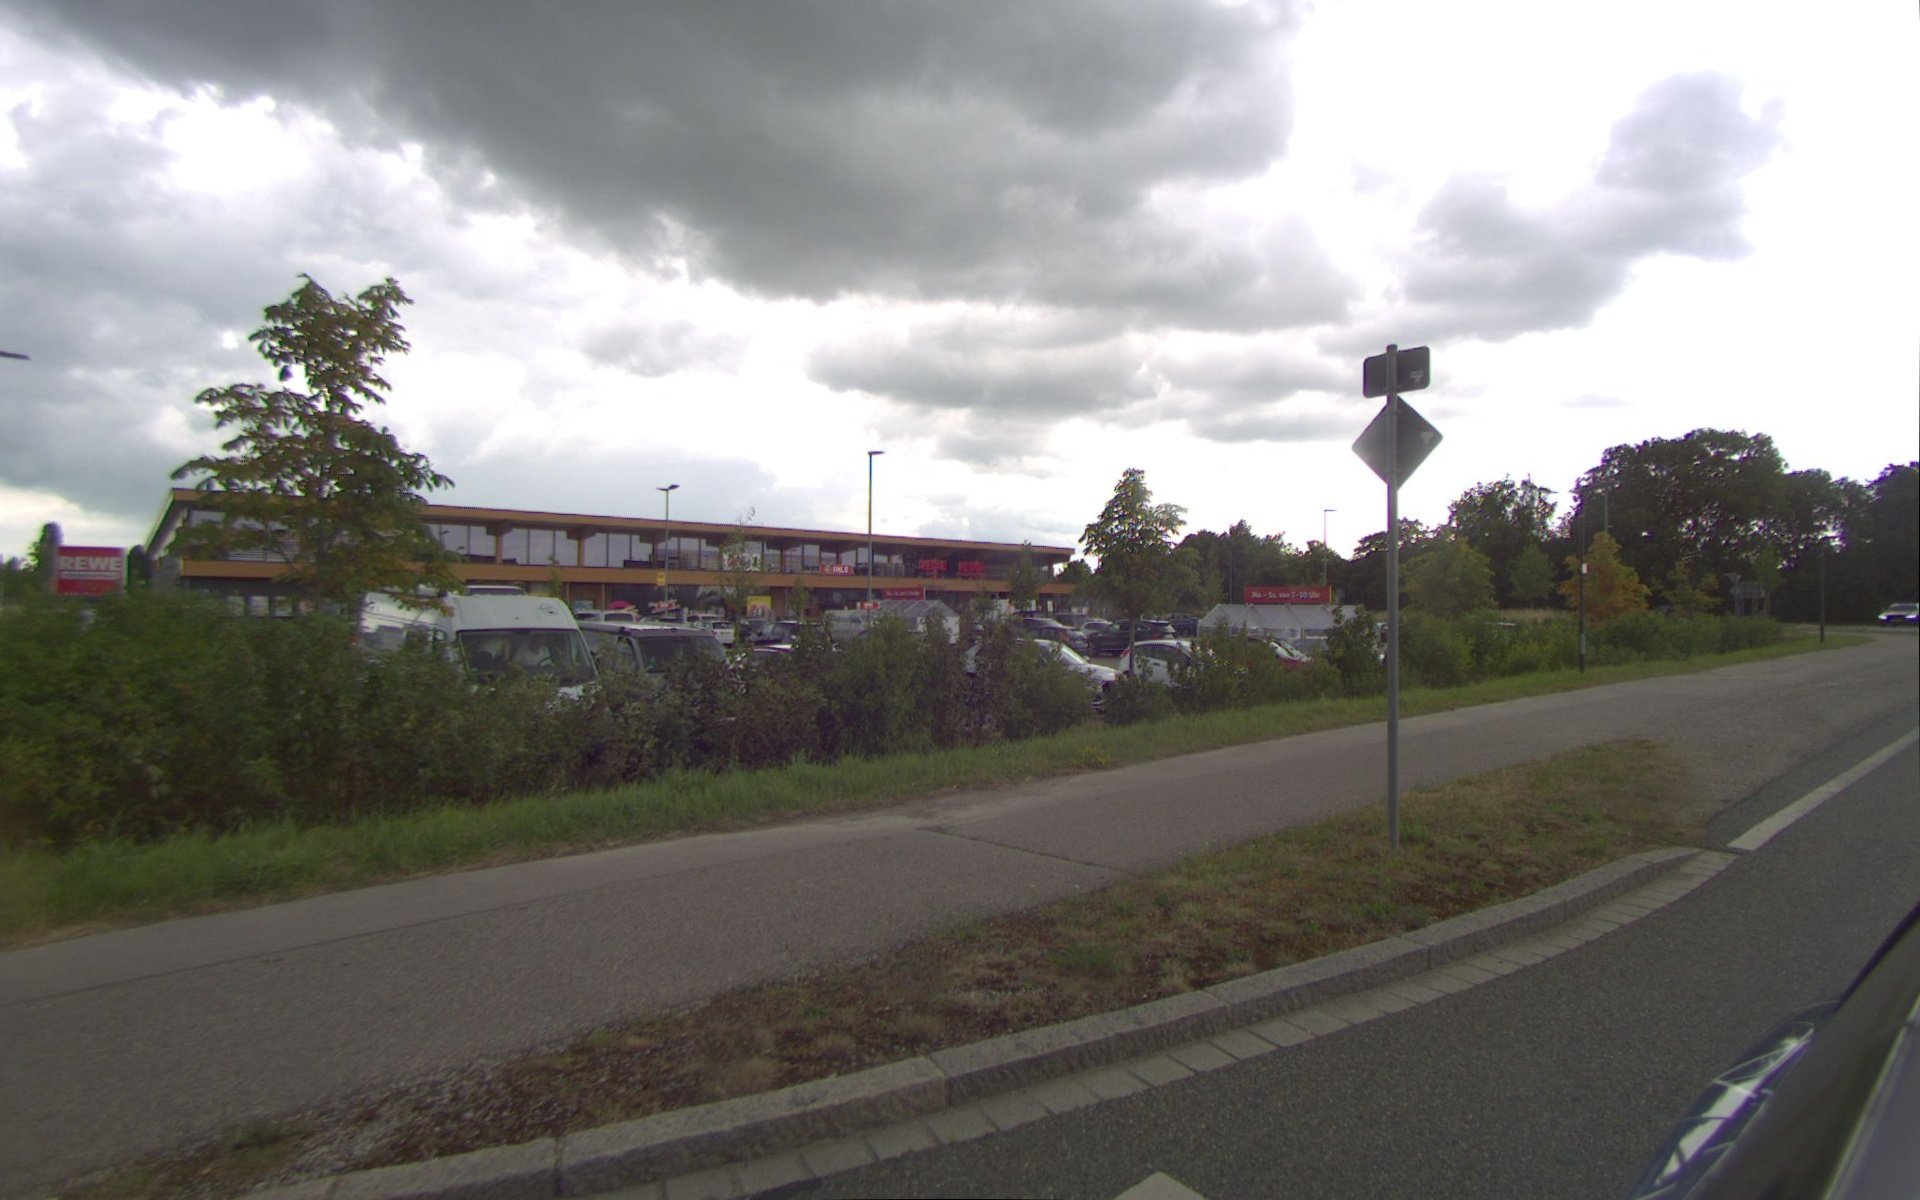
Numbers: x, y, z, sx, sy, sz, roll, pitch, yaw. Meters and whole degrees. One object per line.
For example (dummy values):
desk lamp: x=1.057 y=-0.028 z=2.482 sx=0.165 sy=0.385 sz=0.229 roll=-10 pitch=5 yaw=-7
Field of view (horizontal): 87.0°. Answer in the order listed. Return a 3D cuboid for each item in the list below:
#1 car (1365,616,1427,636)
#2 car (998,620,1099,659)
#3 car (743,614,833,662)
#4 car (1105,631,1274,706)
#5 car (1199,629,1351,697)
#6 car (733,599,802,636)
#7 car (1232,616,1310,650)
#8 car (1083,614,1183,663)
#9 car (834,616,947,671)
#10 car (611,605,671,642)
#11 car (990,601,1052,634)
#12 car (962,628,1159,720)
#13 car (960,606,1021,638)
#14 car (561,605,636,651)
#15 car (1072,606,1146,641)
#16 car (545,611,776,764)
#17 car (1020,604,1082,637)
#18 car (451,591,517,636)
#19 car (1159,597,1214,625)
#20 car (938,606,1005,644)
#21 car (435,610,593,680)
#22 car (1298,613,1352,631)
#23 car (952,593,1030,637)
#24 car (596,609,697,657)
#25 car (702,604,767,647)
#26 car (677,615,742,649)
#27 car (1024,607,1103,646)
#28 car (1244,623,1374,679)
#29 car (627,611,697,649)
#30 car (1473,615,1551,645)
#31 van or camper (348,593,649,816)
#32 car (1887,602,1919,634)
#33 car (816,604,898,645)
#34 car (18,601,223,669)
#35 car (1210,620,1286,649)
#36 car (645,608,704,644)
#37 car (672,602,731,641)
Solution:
car: x=32.426 y=1.952 z=75.293 sx=3.916 sy=1.377 sz=1.705 roll=1 pitch=1 yaw=-13
car: x=3.625 y=1.589 z=41.946 sx=1.965 sy=1.460 sz=3.993 roll=1 pitch=-1 yaw=-41
car: x=-6.899 y=1.466 z=40.280 sx=1.962 sy=1.638 sz=4.000 roll=1 pitch=1 yaw=-36
car: x=5.977 y=1.724 z=26.701 sx=1.647 sy=1.557 sz=4.153 roll=1 pitch=1 yaw=-42
car: x=8.798 y=1.696 z=28.469 sx=1.647 sy=1.557 sz=3.762 roll=1 pitch=1 yaw=-42
car: x=-12.170 y=1.053 z=63.796 sx=1.965 sy=2.039 sz=5.138 roll=1 pitch=1 yaw=-41
car: x=16.364 y=1.697 z=53.408 sx=1.723 sy=1.552 sz=3.555 roll=1 pitch=1 yaw=-41
car: x=7.763 y=1.688 z=45.691 sx=1.962 sy=1.894 sz=4.274 roll=1 pitch=1 yaw=-36
car: x=-2.482 y=1.476 z=35.469 sx=1.964 sy=1.638 sz=3.996 roll=1 pitch=1 yaw=-40
car: x=-17.193 y=1.203 z=54.371 sx=1.908 sy=1.771 sz=4.000 roll=1 pitch=1 yaw=-36
car: x=4.028 y=1.145 z=67.339 sx=1.962 sy=2.039 sz=4.000 roll=1 pitch=1 yaw=-36
car: x=2.196 y=1.579 z=22.948 sx=2.045 sy=1.618 sz=4.153 roll=1 pitch=1 yaw=-42
car: x=1.944 y=1.433 z=66.040 sx=1.962 sy=2.040 sz=3.998 roll=1 pitch=-2 yaw=-36
car: x=-17.002 y=1.264 z=47.511 sx=2.004 sy=1.935 sz=3.899 roll=1 pitch=1 yaw=-42
car: x=8.997 y=1.395 z=61.410 sx=1.962 sy=1.894 sz=4.274 roll=1 pitch=1 yaw=-36
car: x=-5.195 y=1.308 z=17.141 sx=1.966 sy=2.039 sz=4.600 roll=1 pitch=1 yaw=-42
car: x=6.139 y=1.350 z=68.353 sx=2.032 sy=2.039 sz=4.000 roll=1 pitch=1 yaw=-36
car: x=-23.639 y=0.626 z=50.237 sx=1.819 sy=2.035 sz=4.224 roll=1 pitch=1 yaw=-42
car: x=17.595 y=0.828 z=78.741 sx=1.961 sy=2.039 sz=4.003 roll=1 pitch=1 yaw=-32
car: x=0.667 y=1.444 z=59.823 sx=1.962 sy=2.039 sz=4.000 roll=1 pitch=1 yaw=-36
car: x=-14.497 y=1.394 z=32.844 sx=4.896 sy=1.930 sz=2.090 roll=2 pitch=1 yaw=27
car: x=30.346 y=1.822 z=84.178 sx=3.916 sy=1.377 sz=1.705 roll=1 pitch=1 yaw=-13
car: x=1.570 y=0.745 z=52.107 sx=1.962 sy=2.039 sz=4.000 roll=1 pitch=1 yaw=-36
car: x=-11.217 y=1.112 z=36.089 sx=1.869 sy=1.450 sz=4.184 roll=1 pitch=1 yaw=-42
car: x=-12.125 y=1.331 z=54.246 sx=1.962 sy=2.039 sz=4.000 roll=1 pitch=1 yaw=-36
car: x=-12.771 y=1.596 z=51.452 sx=1.761 sy=1.496 sz=3.746 roll=1 pitch=1 yaw=-40
car: x=5.678 y=1.428 z=55.864 sx=1.962 sy=1.894 sz=4.274 roll=1 pitch=1 yaw=-36
car: x=11.577 y=1.654 z=33.769 sx=1.647 sy=1.557 sz=3.762 roll=1 pitch=1 yaw=-42
car: x=-14.715 y=1.457 z=49.862 sx=2.003 sy=1.627 sz=3.746 roll=1 pitch=1 yaw=-40
car: x=34.533 y=1.847 z=63.297 sx=4.154 sy=1.738 sz=1.705 roll=1 pitch=1 yaw=-13
van or camper: x=-7.184 y=1.235 z=15.220 sx=2.242 sy=2.495 sz=6.476 roll=1 pitch=1 yaw=-42
car: x=59.097 y=1.092 z=62.961 sx=1.993 sy=1.861 sz=3.939 roll=2 pitch=1 yaw=42
car: x=-5.902 y=1.335 z=57.436 sx=1.965 sy=2.039 sz=5.138 roll=1 pitch=1 yaw=-41
car: x=-27.901 y=1.092 z=33.844 sx=5.140 sy=2.039 sz=1.998 roll=0 pitch=1 yaw=-40
car: x=17.566 y=2.059 z=61.953 sx=1.962 sy=1.504 sz=4.132 roll=1 pitch=1 yaw=-36
car: x=-15.815 y=1.414 z=55.990 sx=1.908 sy=1.771 sz=4.000 roll=1 pitch=1 yaw=-36
car: x=-14.907 y=1.197 z=58.279 sx=1.962 sy=2.039 sz=4.000 roll=1 pitch=1 yaw=-36
